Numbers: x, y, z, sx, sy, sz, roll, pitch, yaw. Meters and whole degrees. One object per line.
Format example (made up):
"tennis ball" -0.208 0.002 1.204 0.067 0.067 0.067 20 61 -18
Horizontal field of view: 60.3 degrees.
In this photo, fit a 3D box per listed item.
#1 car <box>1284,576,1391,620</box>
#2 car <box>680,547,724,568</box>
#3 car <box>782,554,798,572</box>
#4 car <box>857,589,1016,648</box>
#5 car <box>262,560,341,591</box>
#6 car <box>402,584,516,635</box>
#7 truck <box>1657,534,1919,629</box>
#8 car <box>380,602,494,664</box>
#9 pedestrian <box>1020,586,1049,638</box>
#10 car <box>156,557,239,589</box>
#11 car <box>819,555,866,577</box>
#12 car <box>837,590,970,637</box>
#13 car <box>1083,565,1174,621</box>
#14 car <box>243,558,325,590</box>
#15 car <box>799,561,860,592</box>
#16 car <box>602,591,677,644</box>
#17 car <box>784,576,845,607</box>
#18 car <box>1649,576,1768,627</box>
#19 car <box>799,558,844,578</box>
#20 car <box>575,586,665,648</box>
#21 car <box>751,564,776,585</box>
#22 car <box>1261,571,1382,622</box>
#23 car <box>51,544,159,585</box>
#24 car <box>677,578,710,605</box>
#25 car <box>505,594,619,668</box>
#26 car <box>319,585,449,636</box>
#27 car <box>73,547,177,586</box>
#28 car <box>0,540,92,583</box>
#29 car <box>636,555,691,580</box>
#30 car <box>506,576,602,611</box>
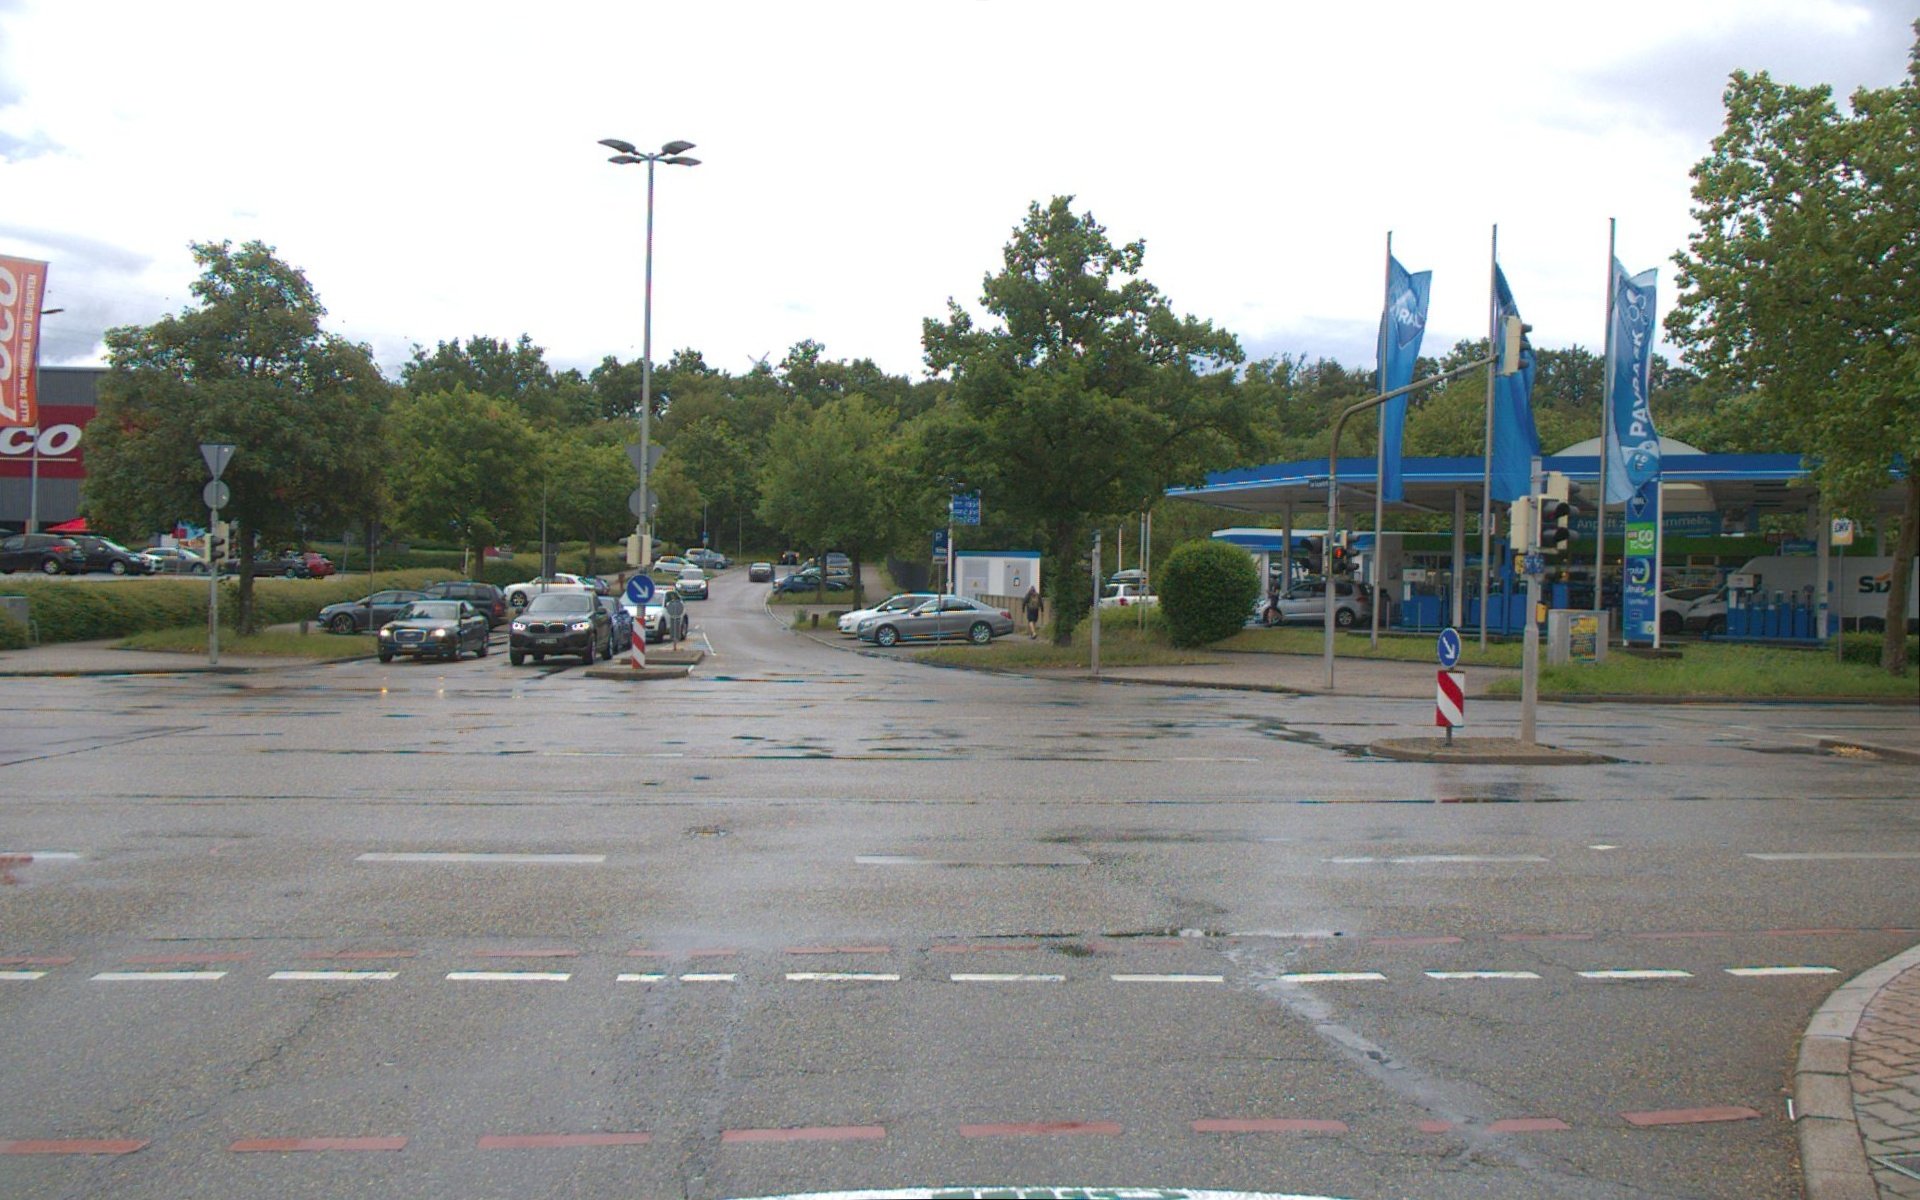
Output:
"car" 15.239 -0.069 66.752 3.908 1.758 1.793 0 0 26
"car" -23.737 -3.911 152.223 3.908 1.825 1.855 0 -1 -4
"car" -18.463 -4.016 179.484 1.770 1.769 3.995 0 0 -6
"car" -0.790 0.578 52.721 4.795 1.576 1.996 -3 0 -9
"car" -37.033 -1.386 93.107 3.736 1.674 1.673 0 0 0
"car" -17.478 0.328 57.792 3.580 1.755 1.682 0 0 -8
"truck" 25.502 -0.511 50.524 7.690 2.722 2.154 -1 -2 24
"car" -12.540 0.762 39.887 1.748 1.429 3.996 0 0 -5
"pedestrian" 2.470 0.390 54.800 0.793 1.690 0.885 0 -1 -8
"car" -41.658 -1.474 90.437 3.736 1.674 1.673 0 0 0
"car" -9.958 -2.865 140.371 3.911 1.769 1.808 0 0 -7
"car" -2.020 0.481 57.982 4.487 1.617 1.926 0 0 -9
"car" 5.748 -0.239 56.820 1.780 1.828 3.681 1 0 -18
"car" -36.901 -1.400 90.325 3.736 1.674 1.673 0 0 0
"car" -7.938 -1.403 100.509 3.627 1.780 1.695 1 -1 -7
"car" -9.956 0.521 51.674 1.858 1.580 3.996 0 0 -5
"car" -8.243 -0.476 93.711 3.393 1.683 1.614 1 -1 -7
"car" 25.319 0.041 55.965 3.486 1.609 1.686 2 1 31
"car" -12.385 -2.851 147.728 3.911 1.769 1.808 0 0 -7
"car" -9.533 0.484 46.648 1.760 1.661 4.549 0 -1 -2
"car" -14.834 -1.901 125.010 1.772 1.508 3.746 0 0 -6
"car" 13.475 -0.133 61.692 4.037 1.839 1.942 1 -1 29
"car" -36.679 -1.506 70.992 3.736 1.674 1.673 0 0 0
"car" -15.050 -0.475 93.550 1.665 1.481 3.667 0 0 -7
"car" -9.093 0.682 38.141 1.858 1.580 4.587 0 0 -5
"car" -18.135 0.326 52.168 3.580 1.580 1.682 0 0 -8
"car" -37.208 -1.498 73.746 3.736 1.674 1.673 0 0 0
"car" -36.936 -1.538 65.986 3.736 1.674 1.673 0 0 0
"car" -21.810 -2.393 121.645 3.912 1.825 1.853 0 -1 -8
"car" -19.340 -0.316 78.933 4.188 1.637 1.683 0 0 -5
